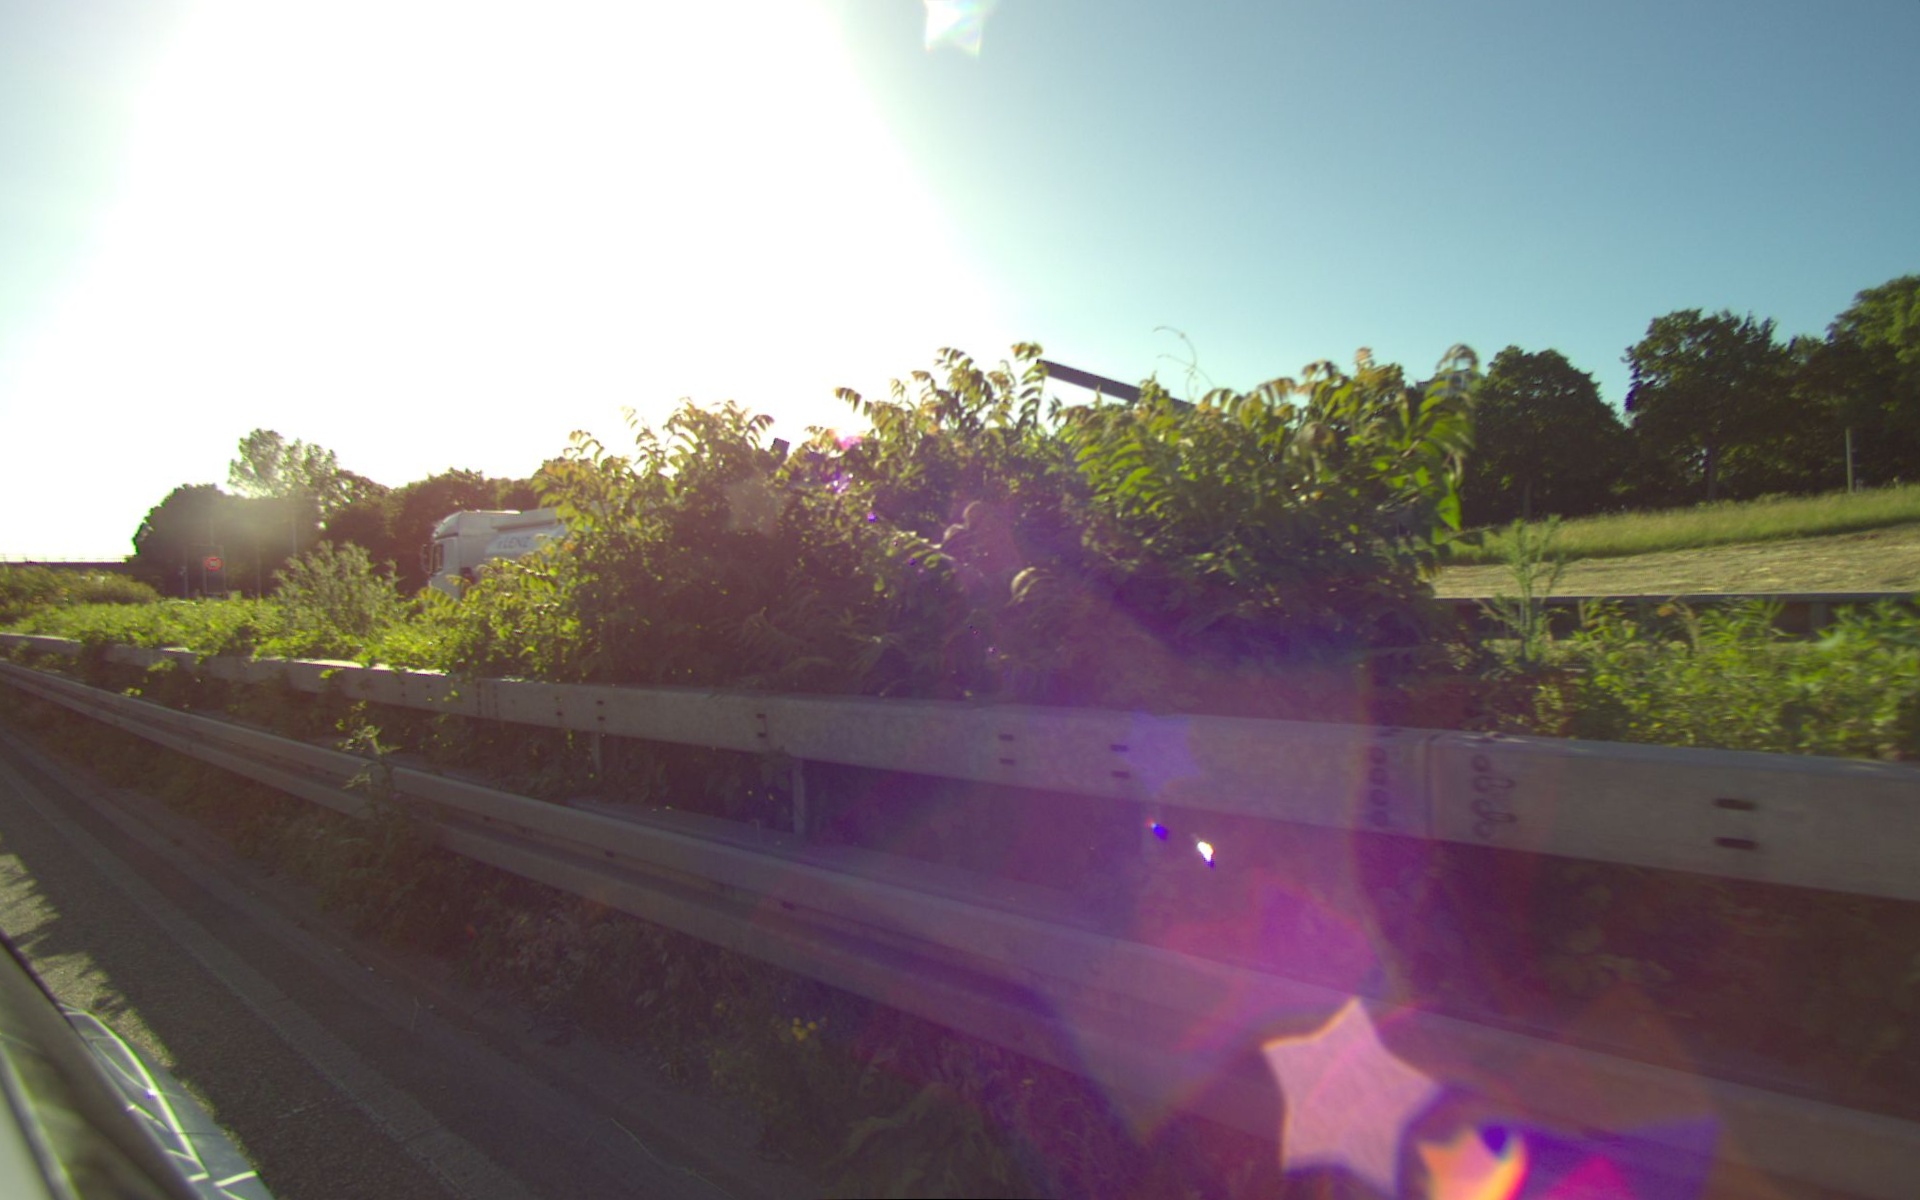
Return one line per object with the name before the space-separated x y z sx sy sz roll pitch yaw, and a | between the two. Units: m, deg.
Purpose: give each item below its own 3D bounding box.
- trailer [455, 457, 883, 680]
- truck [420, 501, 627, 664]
trailer | -6.929 -0.453 21.844 12.201 3.685 2.747 -1 1 42
truck | -11.117 -0.383 25.606 5.322 3.685 2.747 -1 1 42
